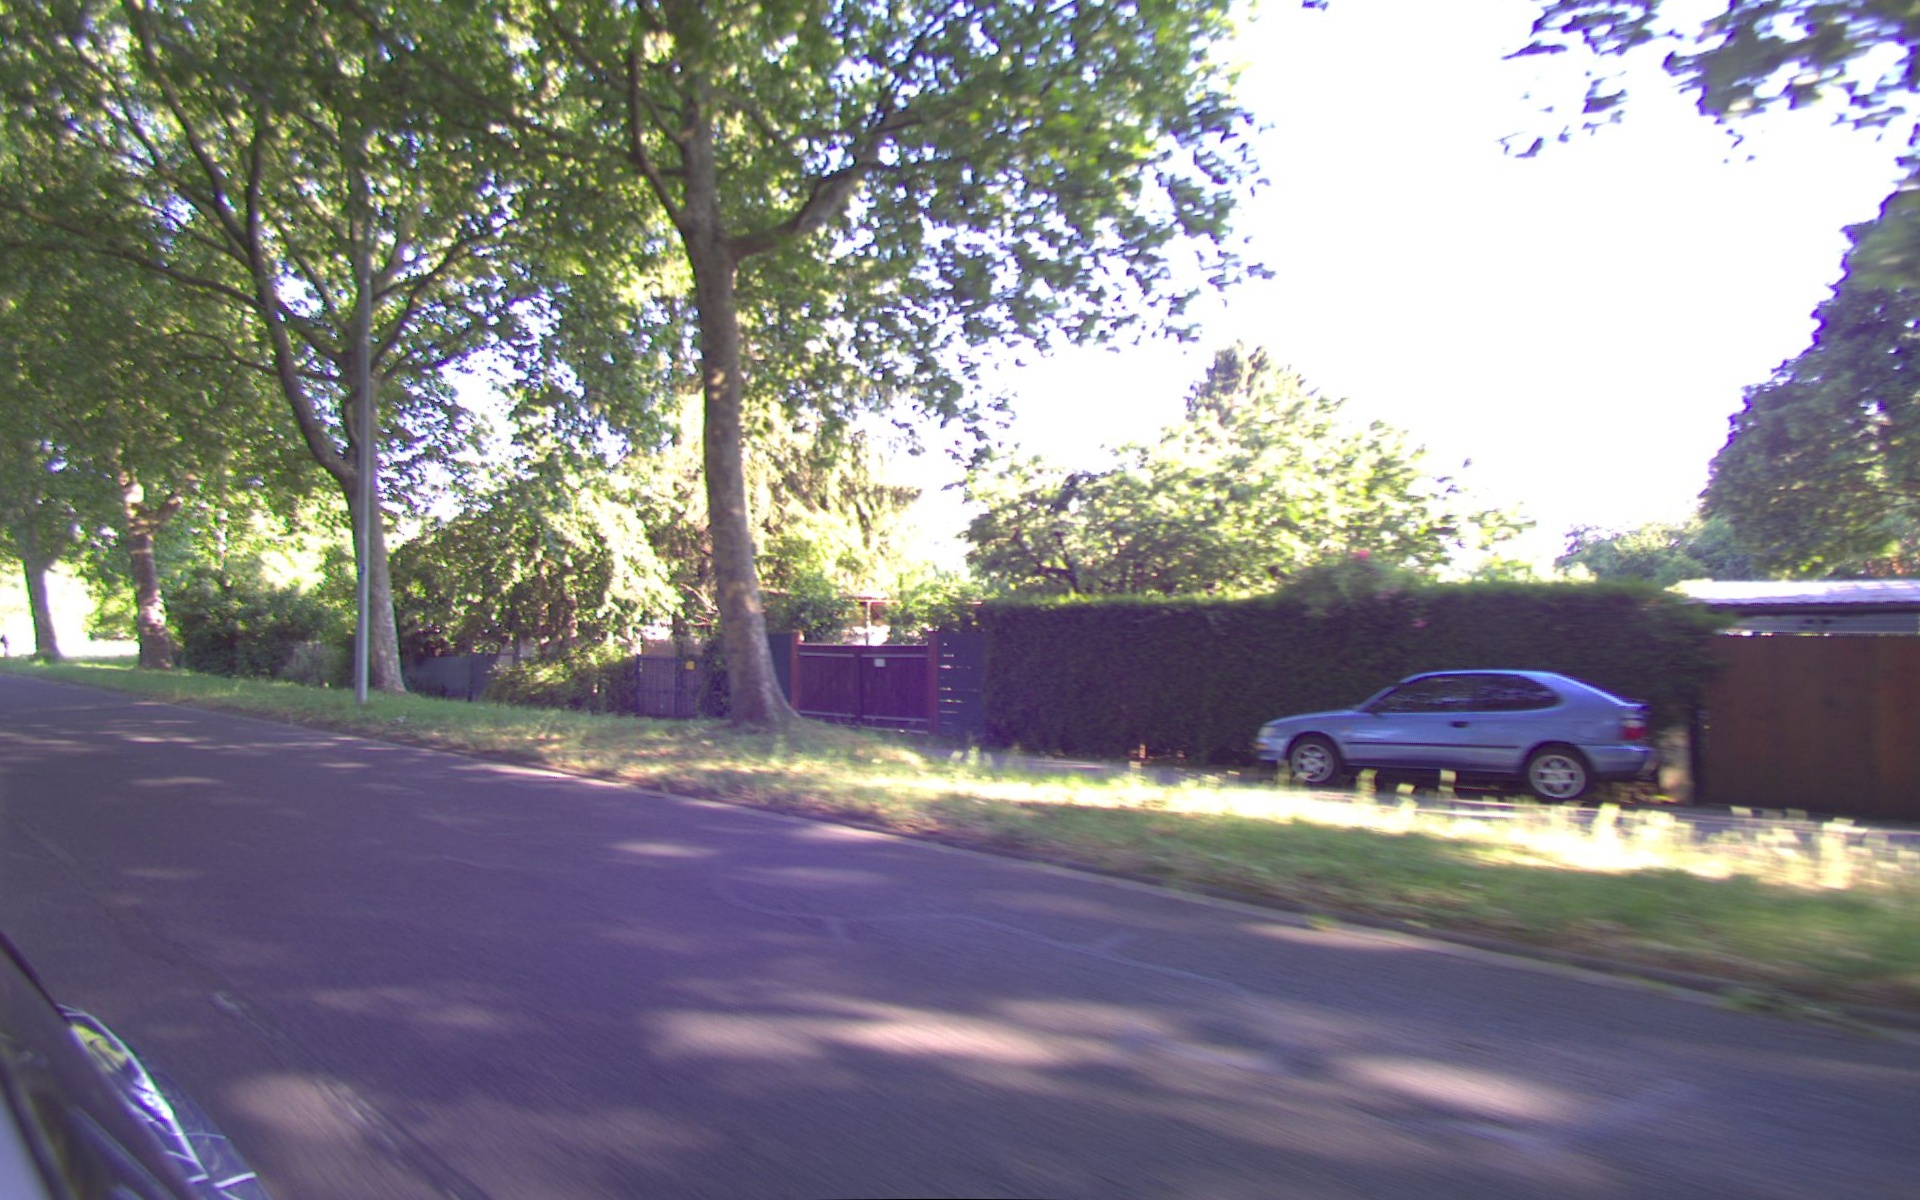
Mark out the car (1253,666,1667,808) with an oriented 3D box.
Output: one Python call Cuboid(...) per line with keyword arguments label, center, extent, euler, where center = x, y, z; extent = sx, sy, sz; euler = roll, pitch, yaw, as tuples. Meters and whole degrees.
Cuboid(label="car", center=(5.626, 1.435, 11.611), extent=(3.993, 1.314, 1.735), euler=(-3, -3, 37))
